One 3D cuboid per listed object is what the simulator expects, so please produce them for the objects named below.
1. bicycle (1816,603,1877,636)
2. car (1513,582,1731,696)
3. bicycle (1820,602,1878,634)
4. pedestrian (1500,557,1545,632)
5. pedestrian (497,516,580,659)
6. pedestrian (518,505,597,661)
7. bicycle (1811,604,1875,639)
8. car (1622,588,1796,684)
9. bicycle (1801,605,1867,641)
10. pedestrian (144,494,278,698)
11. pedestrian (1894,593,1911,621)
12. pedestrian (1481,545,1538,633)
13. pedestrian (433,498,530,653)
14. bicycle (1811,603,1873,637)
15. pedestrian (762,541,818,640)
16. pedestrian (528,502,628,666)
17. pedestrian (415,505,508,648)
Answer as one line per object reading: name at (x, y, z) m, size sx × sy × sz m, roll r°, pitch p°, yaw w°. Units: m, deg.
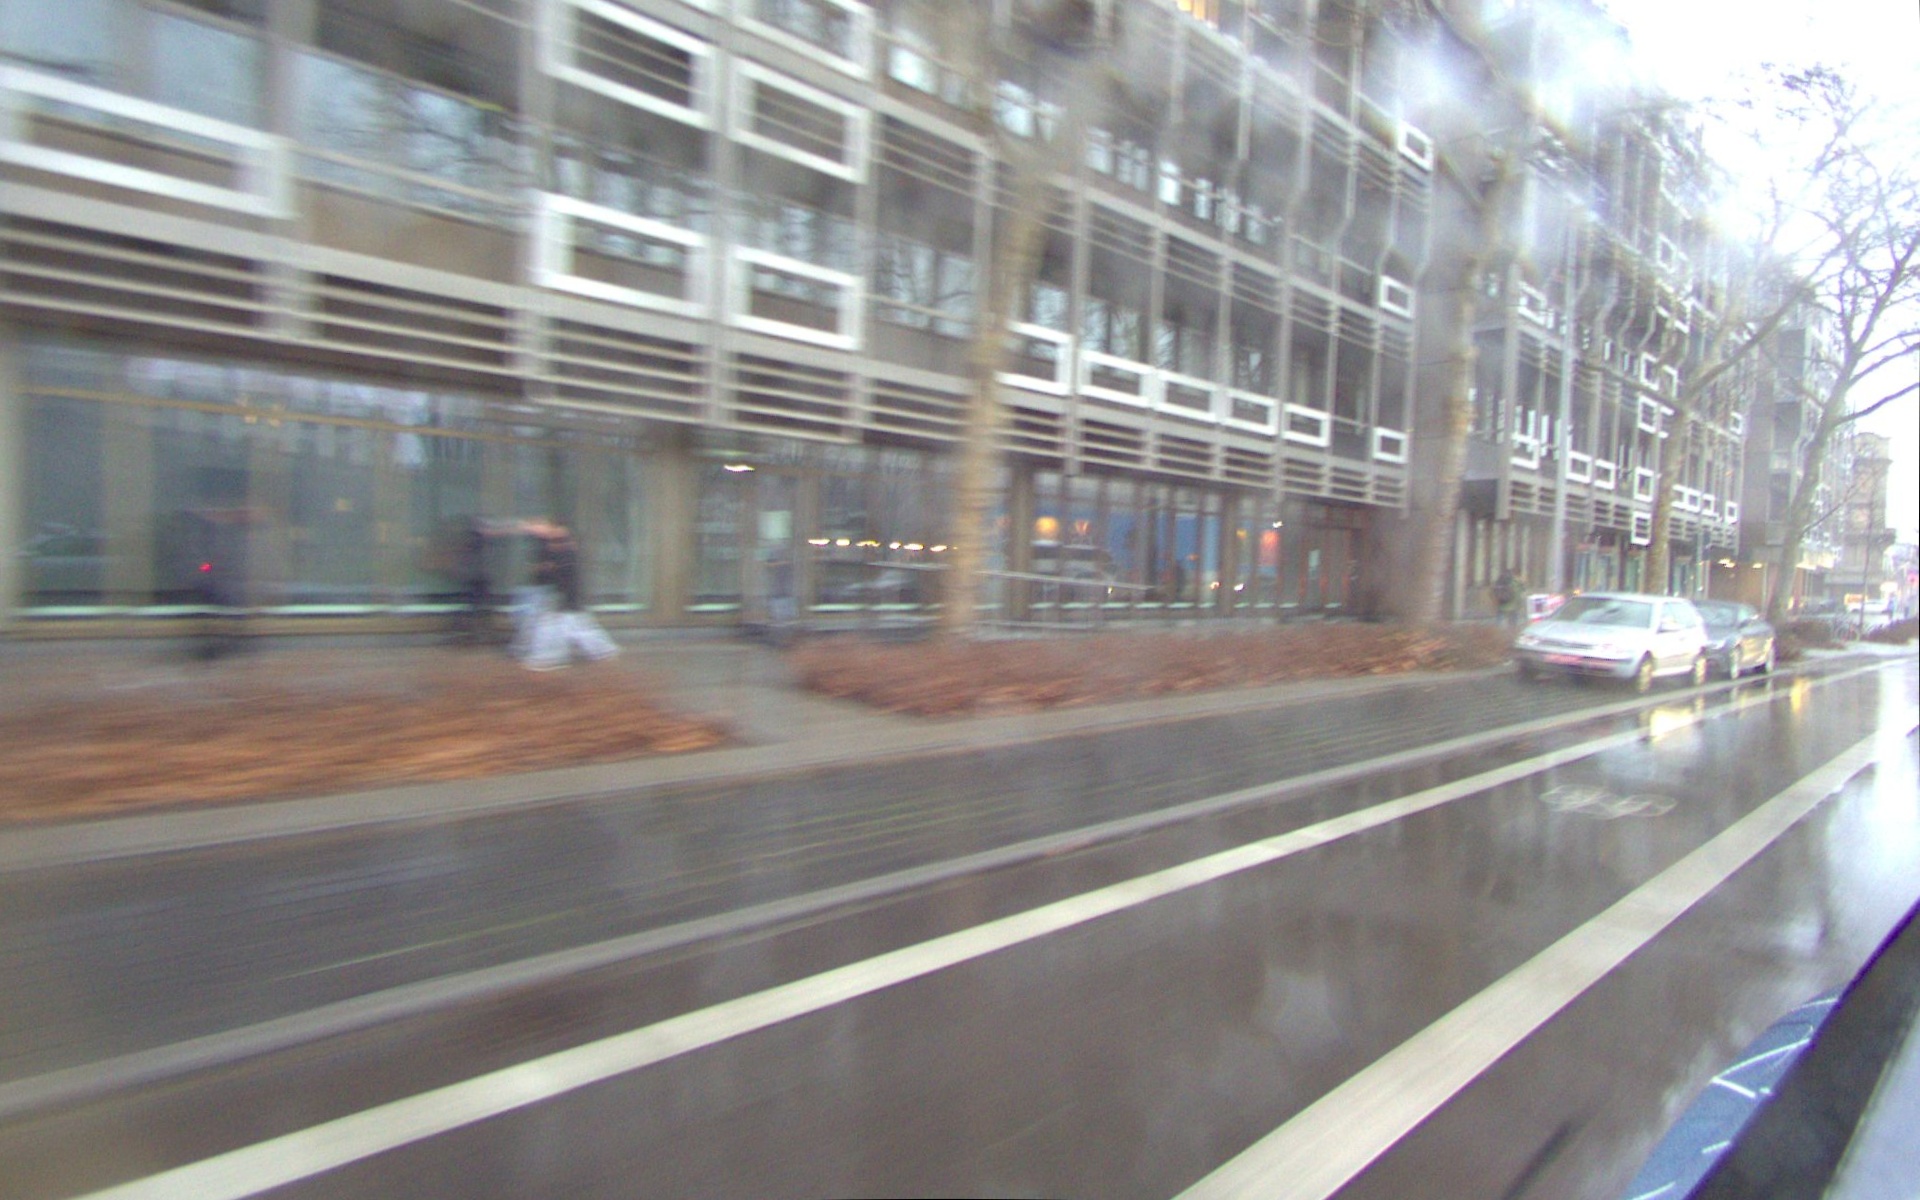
bicycle at (30.289, 0.642, 34.592) m, size 1.519 × 1.049 × 0.462 m, roll 2°, pitch 2°, yaw 44°
car at (10.477, 0.538, 15.927) m, size 3.858 × 1.449 × 1.610 m, roll 0°, pitch 5°, yaw -38°
bicycle at (31.416, 0.630, 35.779) m, size 1.519 × 1.049 × 0.462 m, roll 2°, pitch 2°, yaw 44°
pedestrian at (15.844, -0.157, 28.505) m, size 0.723 × 2.038 × 0.822 m, roll 1°, pitch 2°, yaw -41°
pedestrian at (-4.837, -0.151, 11.614) m, size 0.732 × 1.583 × 0.484 m, roll 1°, pitch 2°, yaw -41°
pedestrian at (-4.480, -0.190, 11.265) m, size 0.700 × 1.688 × 0.379 m, roll 1°, pitch 2°, yaw -39°
bicycle at (28.449, 0.684, 32.615) m, size 1.519 × 1.049 × 0.462 m, roll 2°, pitch 2°, yaw 44°
car at (14.405, 0.631, 19.384) m, size 3.948 × 1.567 × 1.764 m, roll 1°, pitch 3°, yaw -40°
bicycle at (27.241, 0.700, 31.546) m, size 1.519 × 1.049 × 0.462 m, roll 2°, pitch 2°, yaw 44°
pedestrian at (-6.091, -0.052, 8.223) m, size 0.823 × 1.542 × 0.866 m, roll 1°, pitch 2°, yaw -39°
pedestrian at (69.800, 0.532, 74.953) m, size 0.758 × 2.039 × 0.838 m, roll 0°, pitch 1°, yaw -40°
pedestrian at (13.138, -0.263, 24.207) m, size 1.006 × 2.038 × 0.791 m, roll 1°, pitch 2°, yaw -40°
pedestrian at (-5.616, -0.291, 11.873) m, size 0.829 × 1.739 × 0.659 m, roll 0°, pitch 3°, yaw -45°
bicycle at (29.281, 0.654, 33.621) m, size 1.519 × 1.049 × 0.462 m, roll 2°, pitch 2°, yaw 44°
pedestrian at (-2.505, -0.150, 14.862) m, size 0.700 × 1.406 × 0.565 m, roll 2°, pitch 2°, yaw -17°
pedestrian at (-4.109, -0.176, 10.903) m, size 0.857 × 1.688 × 0.501 m, roll 1°, pitch 2°, yaw -39°
pedestrian at (-6.049, -0.291, 12.292) m, size 0.829 × 1.675 × 0.640 m, roll 0°, pitch 3°, yaw -45°
